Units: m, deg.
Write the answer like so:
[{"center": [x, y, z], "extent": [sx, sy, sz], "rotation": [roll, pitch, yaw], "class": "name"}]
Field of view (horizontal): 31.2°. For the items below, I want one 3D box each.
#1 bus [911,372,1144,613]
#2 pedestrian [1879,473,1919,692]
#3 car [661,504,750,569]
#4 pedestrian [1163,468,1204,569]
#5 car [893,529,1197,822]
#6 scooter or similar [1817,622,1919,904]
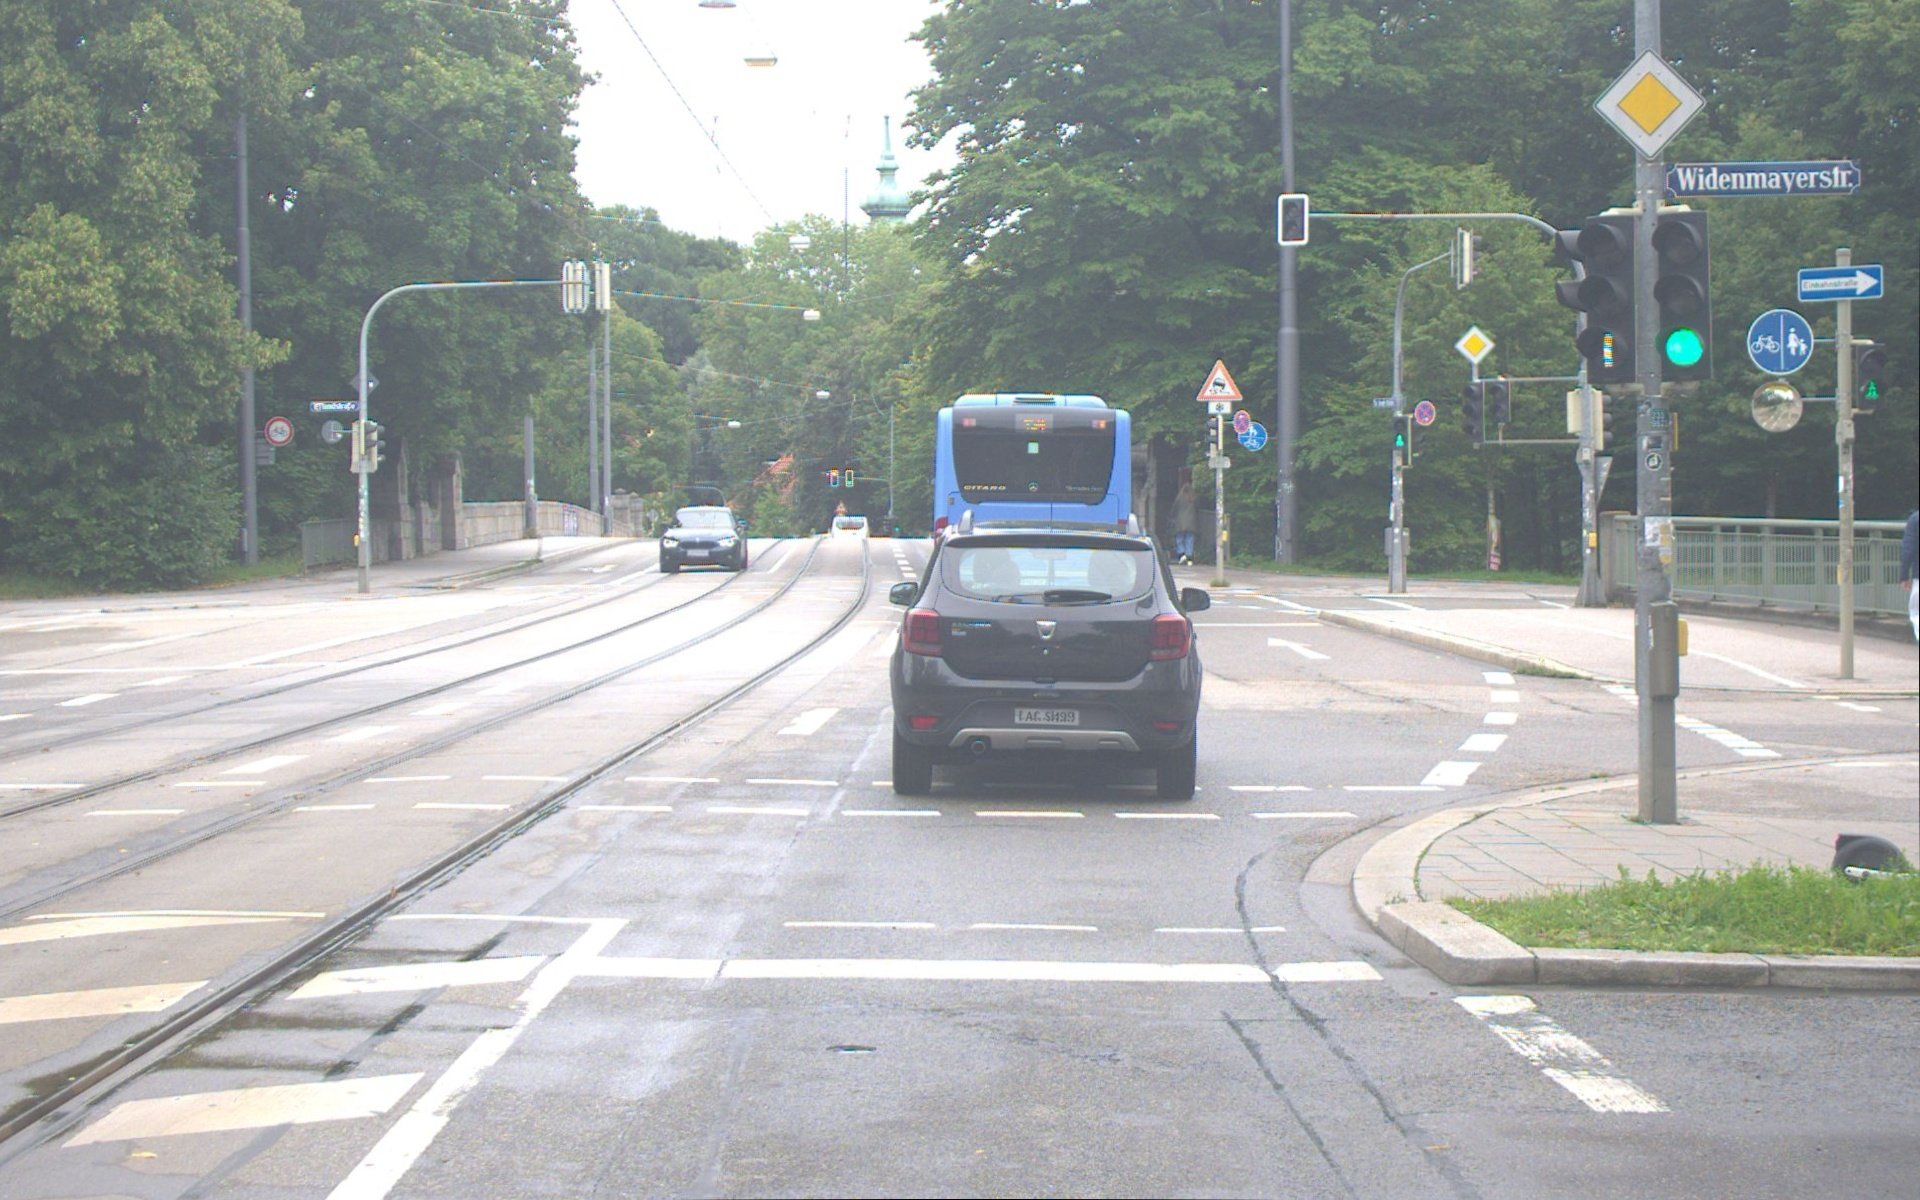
[{"center": [0.809, -1.410, 46.921], "extent": [2.678, 2.987, 6.962], "rotation": [1, 1, -2], "class": "bus"}, {"center": [9.084, -0.157, 31.945], "extent": [0.830, 2.007, 0.780], "rotation": [1, 1, -1], "class": "pedestrian"}, {"center": [-5.612, -1.394, 76.144], "extent": [1.787, 1.365, 3.400], "rotation": [1, 1, -2], "class": "car"}, {"center": [4.744, -1.723, 72.998], "extent": [0.762, 2.109, 0.853], "rotation": [1, 1, -1], "class": "pedestrian"}, {"center": [0.425, 0.383, 20.323], "extent": [1.600, 1.551, 3.525], "rotation": [1, 1, -1], "class": "car"}, {"center": [4.058, 0.652, 13.729], "extent": [1.194, 1.092, 0.589], "rotation": [1, 1, 13], "class": "scooter or similar"}]
